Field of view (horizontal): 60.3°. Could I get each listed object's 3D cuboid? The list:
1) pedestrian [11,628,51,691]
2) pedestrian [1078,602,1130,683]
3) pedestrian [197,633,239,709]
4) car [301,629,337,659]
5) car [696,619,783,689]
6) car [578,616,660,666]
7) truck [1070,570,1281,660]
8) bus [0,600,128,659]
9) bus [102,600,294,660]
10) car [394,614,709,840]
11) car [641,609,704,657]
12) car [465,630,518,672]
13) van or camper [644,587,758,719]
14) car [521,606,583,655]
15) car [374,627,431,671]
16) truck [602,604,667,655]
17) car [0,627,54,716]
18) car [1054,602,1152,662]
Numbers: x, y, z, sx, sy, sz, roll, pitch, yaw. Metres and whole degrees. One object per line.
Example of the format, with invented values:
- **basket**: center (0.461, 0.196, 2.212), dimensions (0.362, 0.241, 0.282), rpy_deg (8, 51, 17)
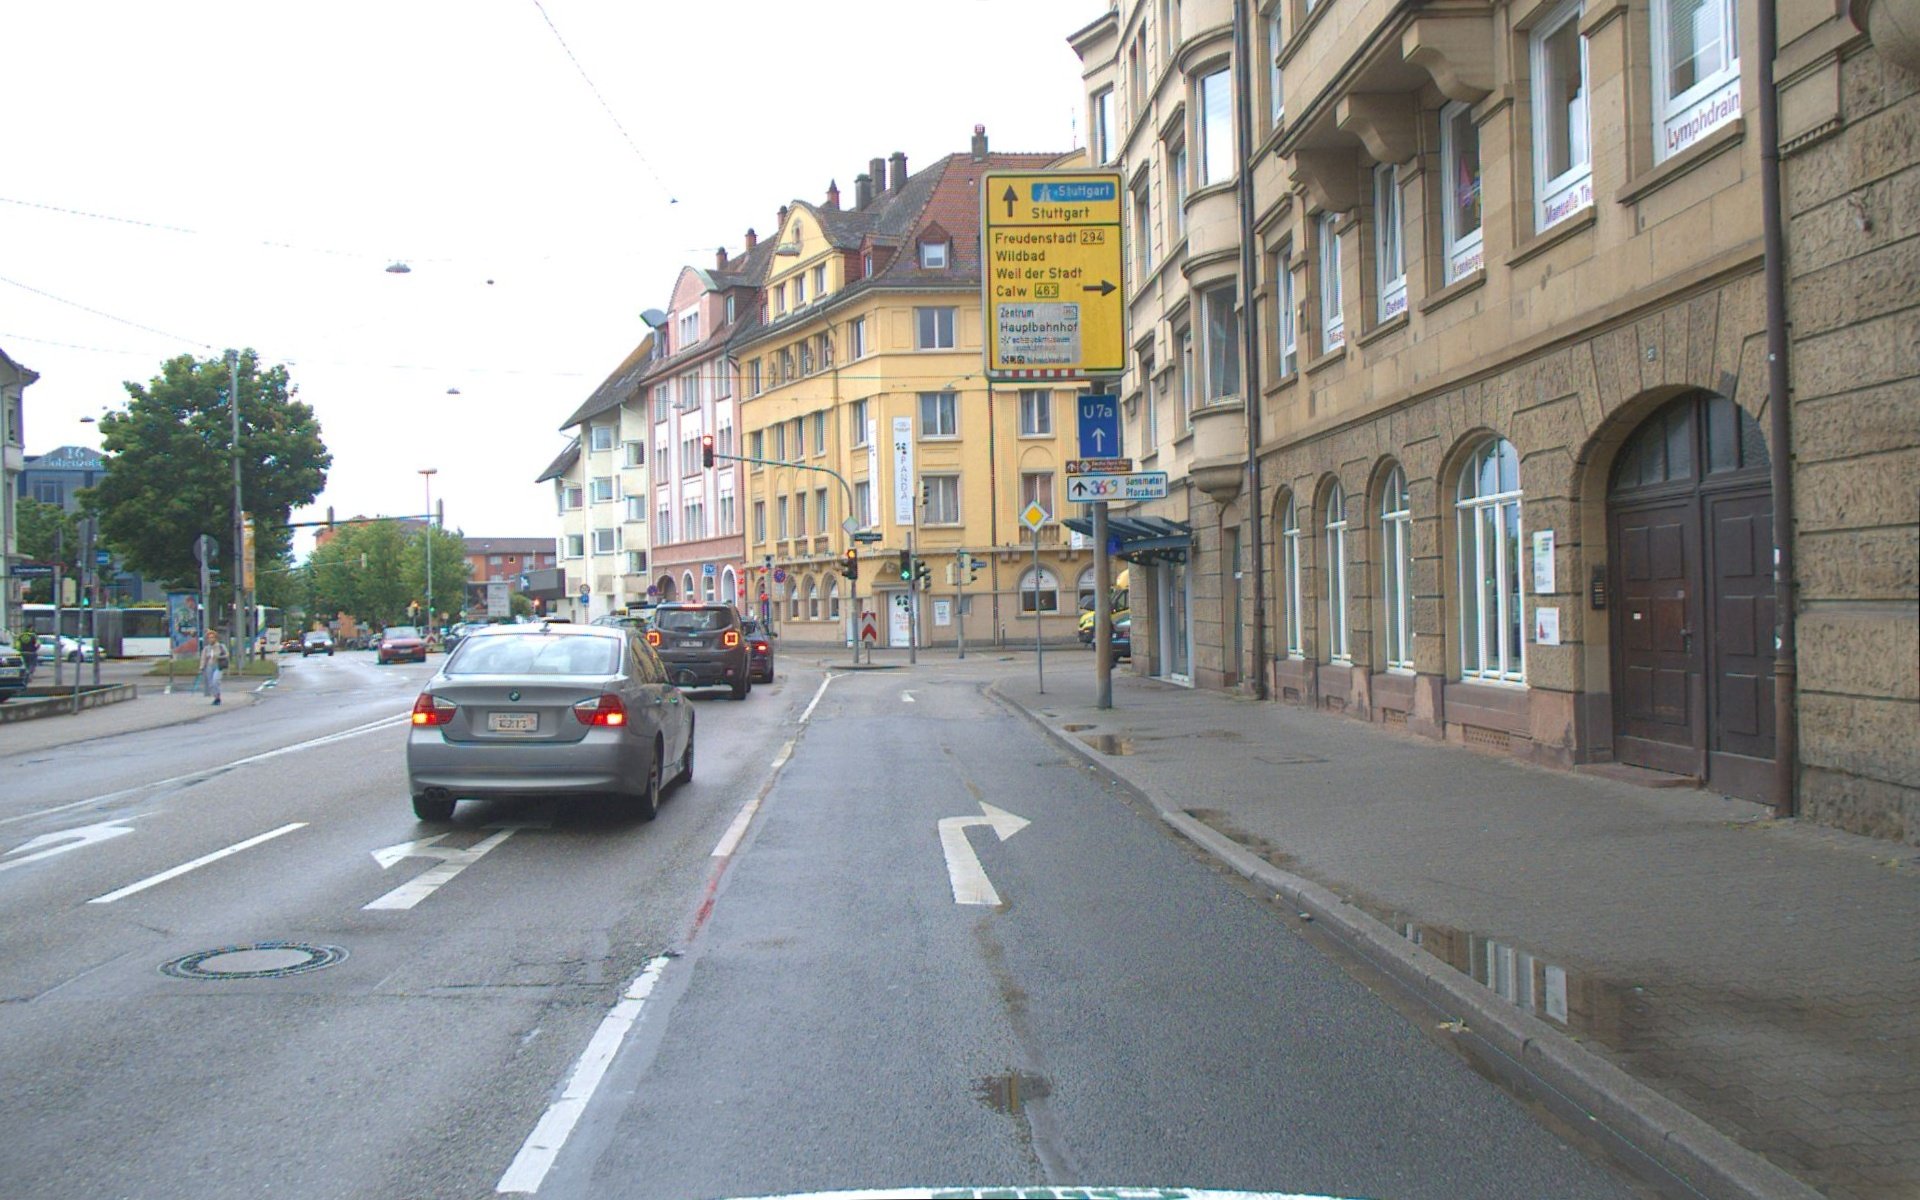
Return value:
- **pedestrian**: center (-26.597, 1.693, 47.374), dimensions (0.951, 1.738, 0.926), rpy_deg (-1, 0, -28)
- **pedestrian**: center (3.538, 1.023, 40.481), dimensions (1.035, 1.937, 1.025), rpy_deg (-1, 0, 17)
- **pedestrian**: center (-15.323, 1.467, 34.172), dimensions (0.750, 1.556, 0.504), rpy_deg (1, -2, -24)
- **car**: center (-41.997, 2.861, 108.319), dimensions (1.863, 1.847, 3.967), rpy_deg (-1, 0, -25)
- **car**: center (-4.801, 1.155, 36.509), dimensions (1.768, 1.430, 4.677), rpy_deg (-1, -1, -6)
- **car**: center (-13.301, 1.607, 64.353), dimensions (1.973, 1.848, 3.958), rpy_deg (-1, -1, -31)
- **truck**: center (7.449, 0.527, 57.566), dimensions (6.951, 2.901, 2.081), rpy_deg (-1, -1, -4)
- **bus**: center (-49.915, 1.559, 88.982), dimensions (8.669, 3.159, 2.915), rpy_deg (0, 0, -5)
- **bus**: center (-41.167, 1.606, 89.579), dimensions (8.930, 3.159, 2.917), rpy_deg (0, 0, -2)
- **car**: center (-3.033, 0.892, 13.161), dimensions (1.764, 1.490, 4.365), rpy_deg (0, -1, -5)
- **car**: center (-13.658, 1.537, 78.396), dimensions (1.742, 2.218, 3.962), rpy_deg (2, -1, -28)
- **car**: center (-24.157, 2.590, 85.248), dimensions (1.969, 2.049, 3.966), rpy_deg (-1, 0, -26)
- **van or camper**: center (-4.579, 0.915, 29.722), dimensions (1.819, 2.184, 4.136), rpy_deg (0, -1, -6)
- **car**: center (-17.898, 1.324, 72.499), dimensions (1.968, 2.049, 3.969), rpy_deg (-1, 0, -24)
- **car**: center (-22.717, 1.960, 67.343), dimensions (1.821, 1.713, 3.969), rpy_deg (1, -1, -24)
- **truck**: center (-16.415, 1.482, 83.368), dimensions (2.003, 2.431, 4.197), rpy_deg (3, -2, -28)
- **car**: center (-18.924, 1.243, 29.635), dimensions (4.324, 1.532, 1.955), rpy_deg (1, 0, 5)
- **car**: center (4.033, 0.916, 47.278), dimensions (1.767, 1.590, 3.989), rpy_deg (-1, -1, -11)
